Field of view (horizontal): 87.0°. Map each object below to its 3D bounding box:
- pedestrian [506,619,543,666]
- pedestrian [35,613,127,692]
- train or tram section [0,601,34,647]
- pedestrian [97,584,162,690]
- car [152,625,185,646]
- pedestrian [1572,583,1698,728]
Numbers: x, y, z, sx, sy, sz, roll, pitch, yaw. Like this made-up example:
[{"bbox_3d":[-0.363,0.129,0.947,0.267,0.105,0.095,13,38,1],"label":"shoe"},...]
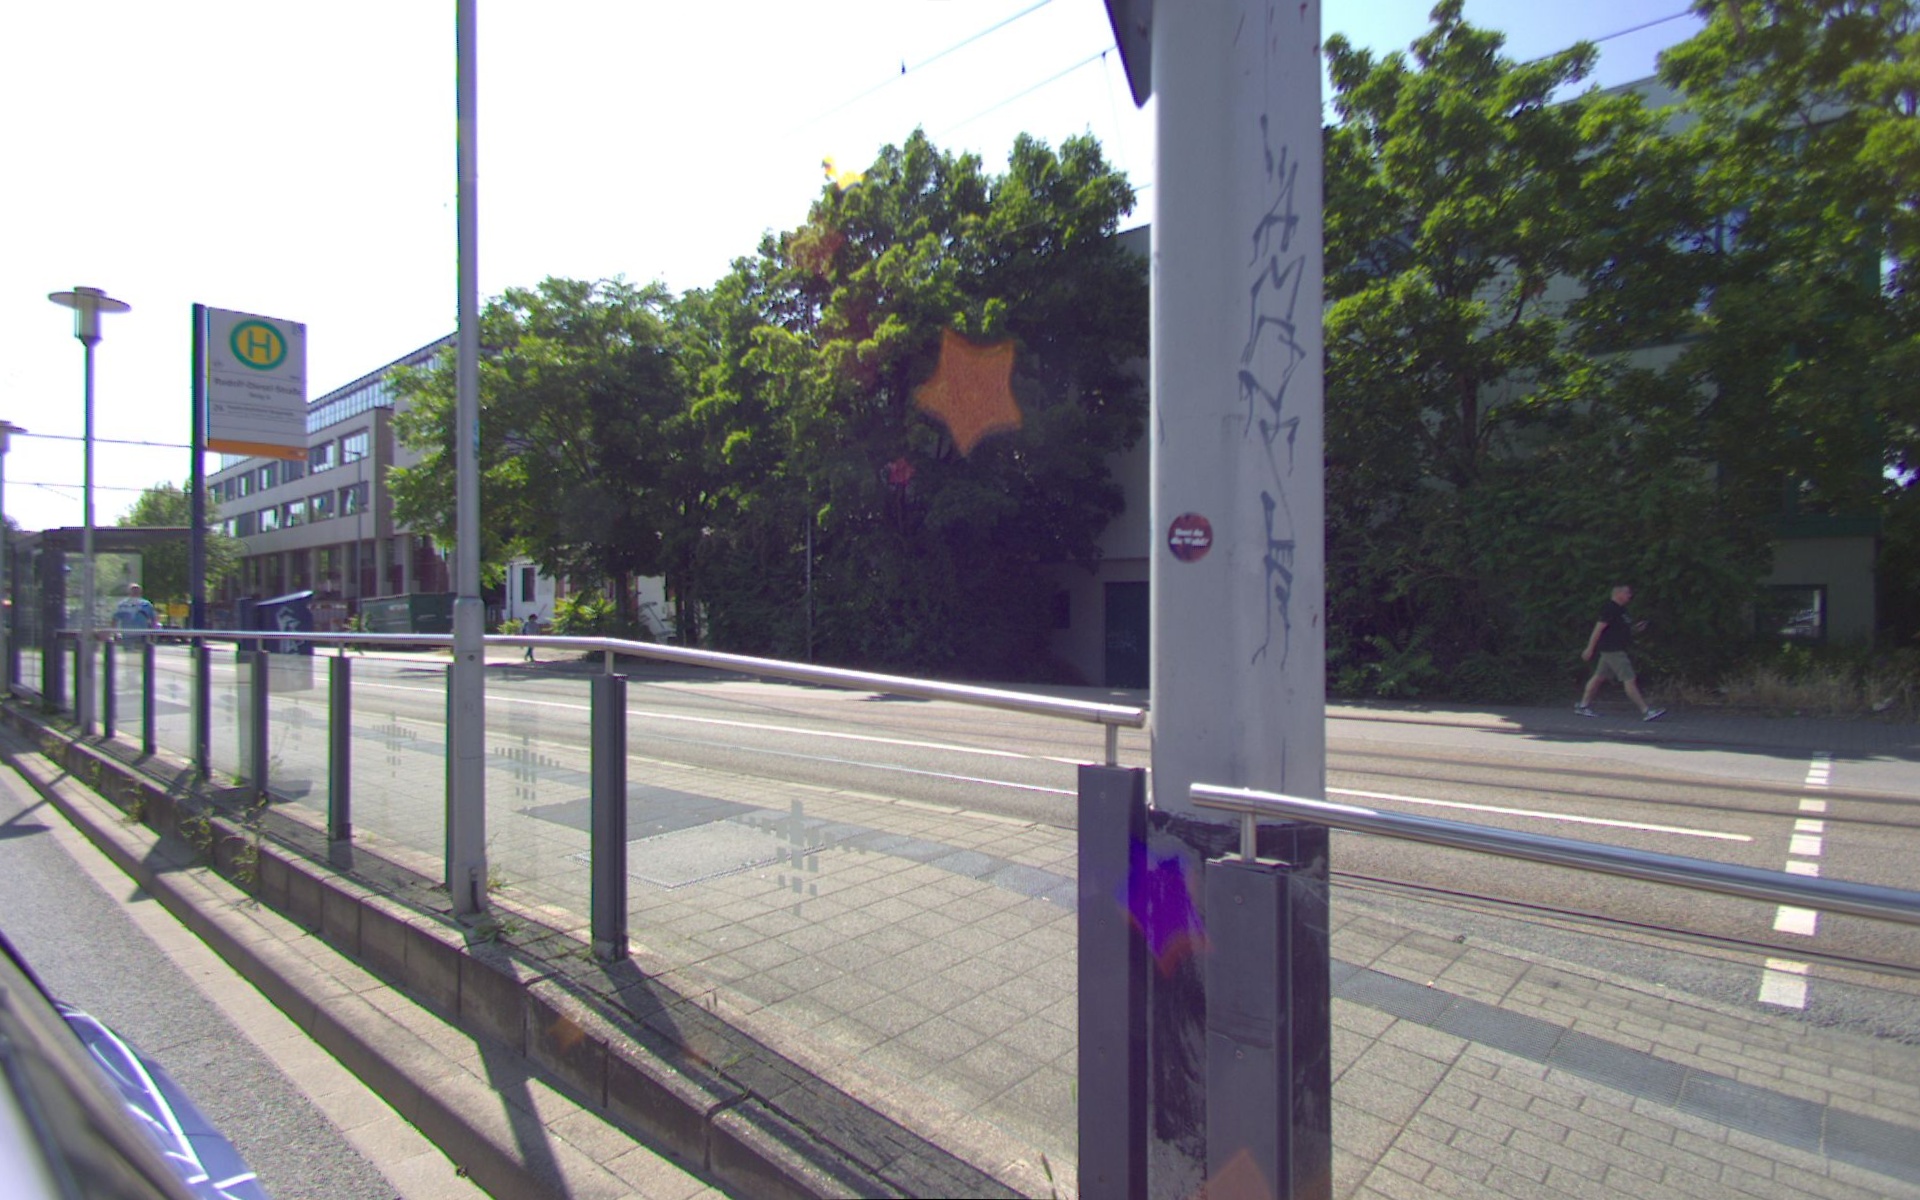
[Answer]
[{"bbox_3d":[-14.451,1.393,33.559,0.845,1.538,0.861,-2,-2,41],"label":"pedestrian"},{"bbox_3d":[-12.950,0.759,14.913,0.726,1.107,0.933,-2,-1,41],"label":"pedestrian"},{"bbox_3d":[-78.019,1.960,82.456,12.324,3.511,2.645,-2,-2,42],"label":"train or tram section"},{"bbox_3d":[-14.039,0.615,17.107,0.944,1.738,0.716,-2,-1,42],"label":"pedestrian"},{"bbox_3d":[-66.289,2.968,84.755,1.969,1.635,4.006,2,-2,-41],"label":"car"},{"bbox_3d":[8.281,0.643,12.425,1.160,1.683,0.876,-1,-1,42],"label":"pedestrian"}]
